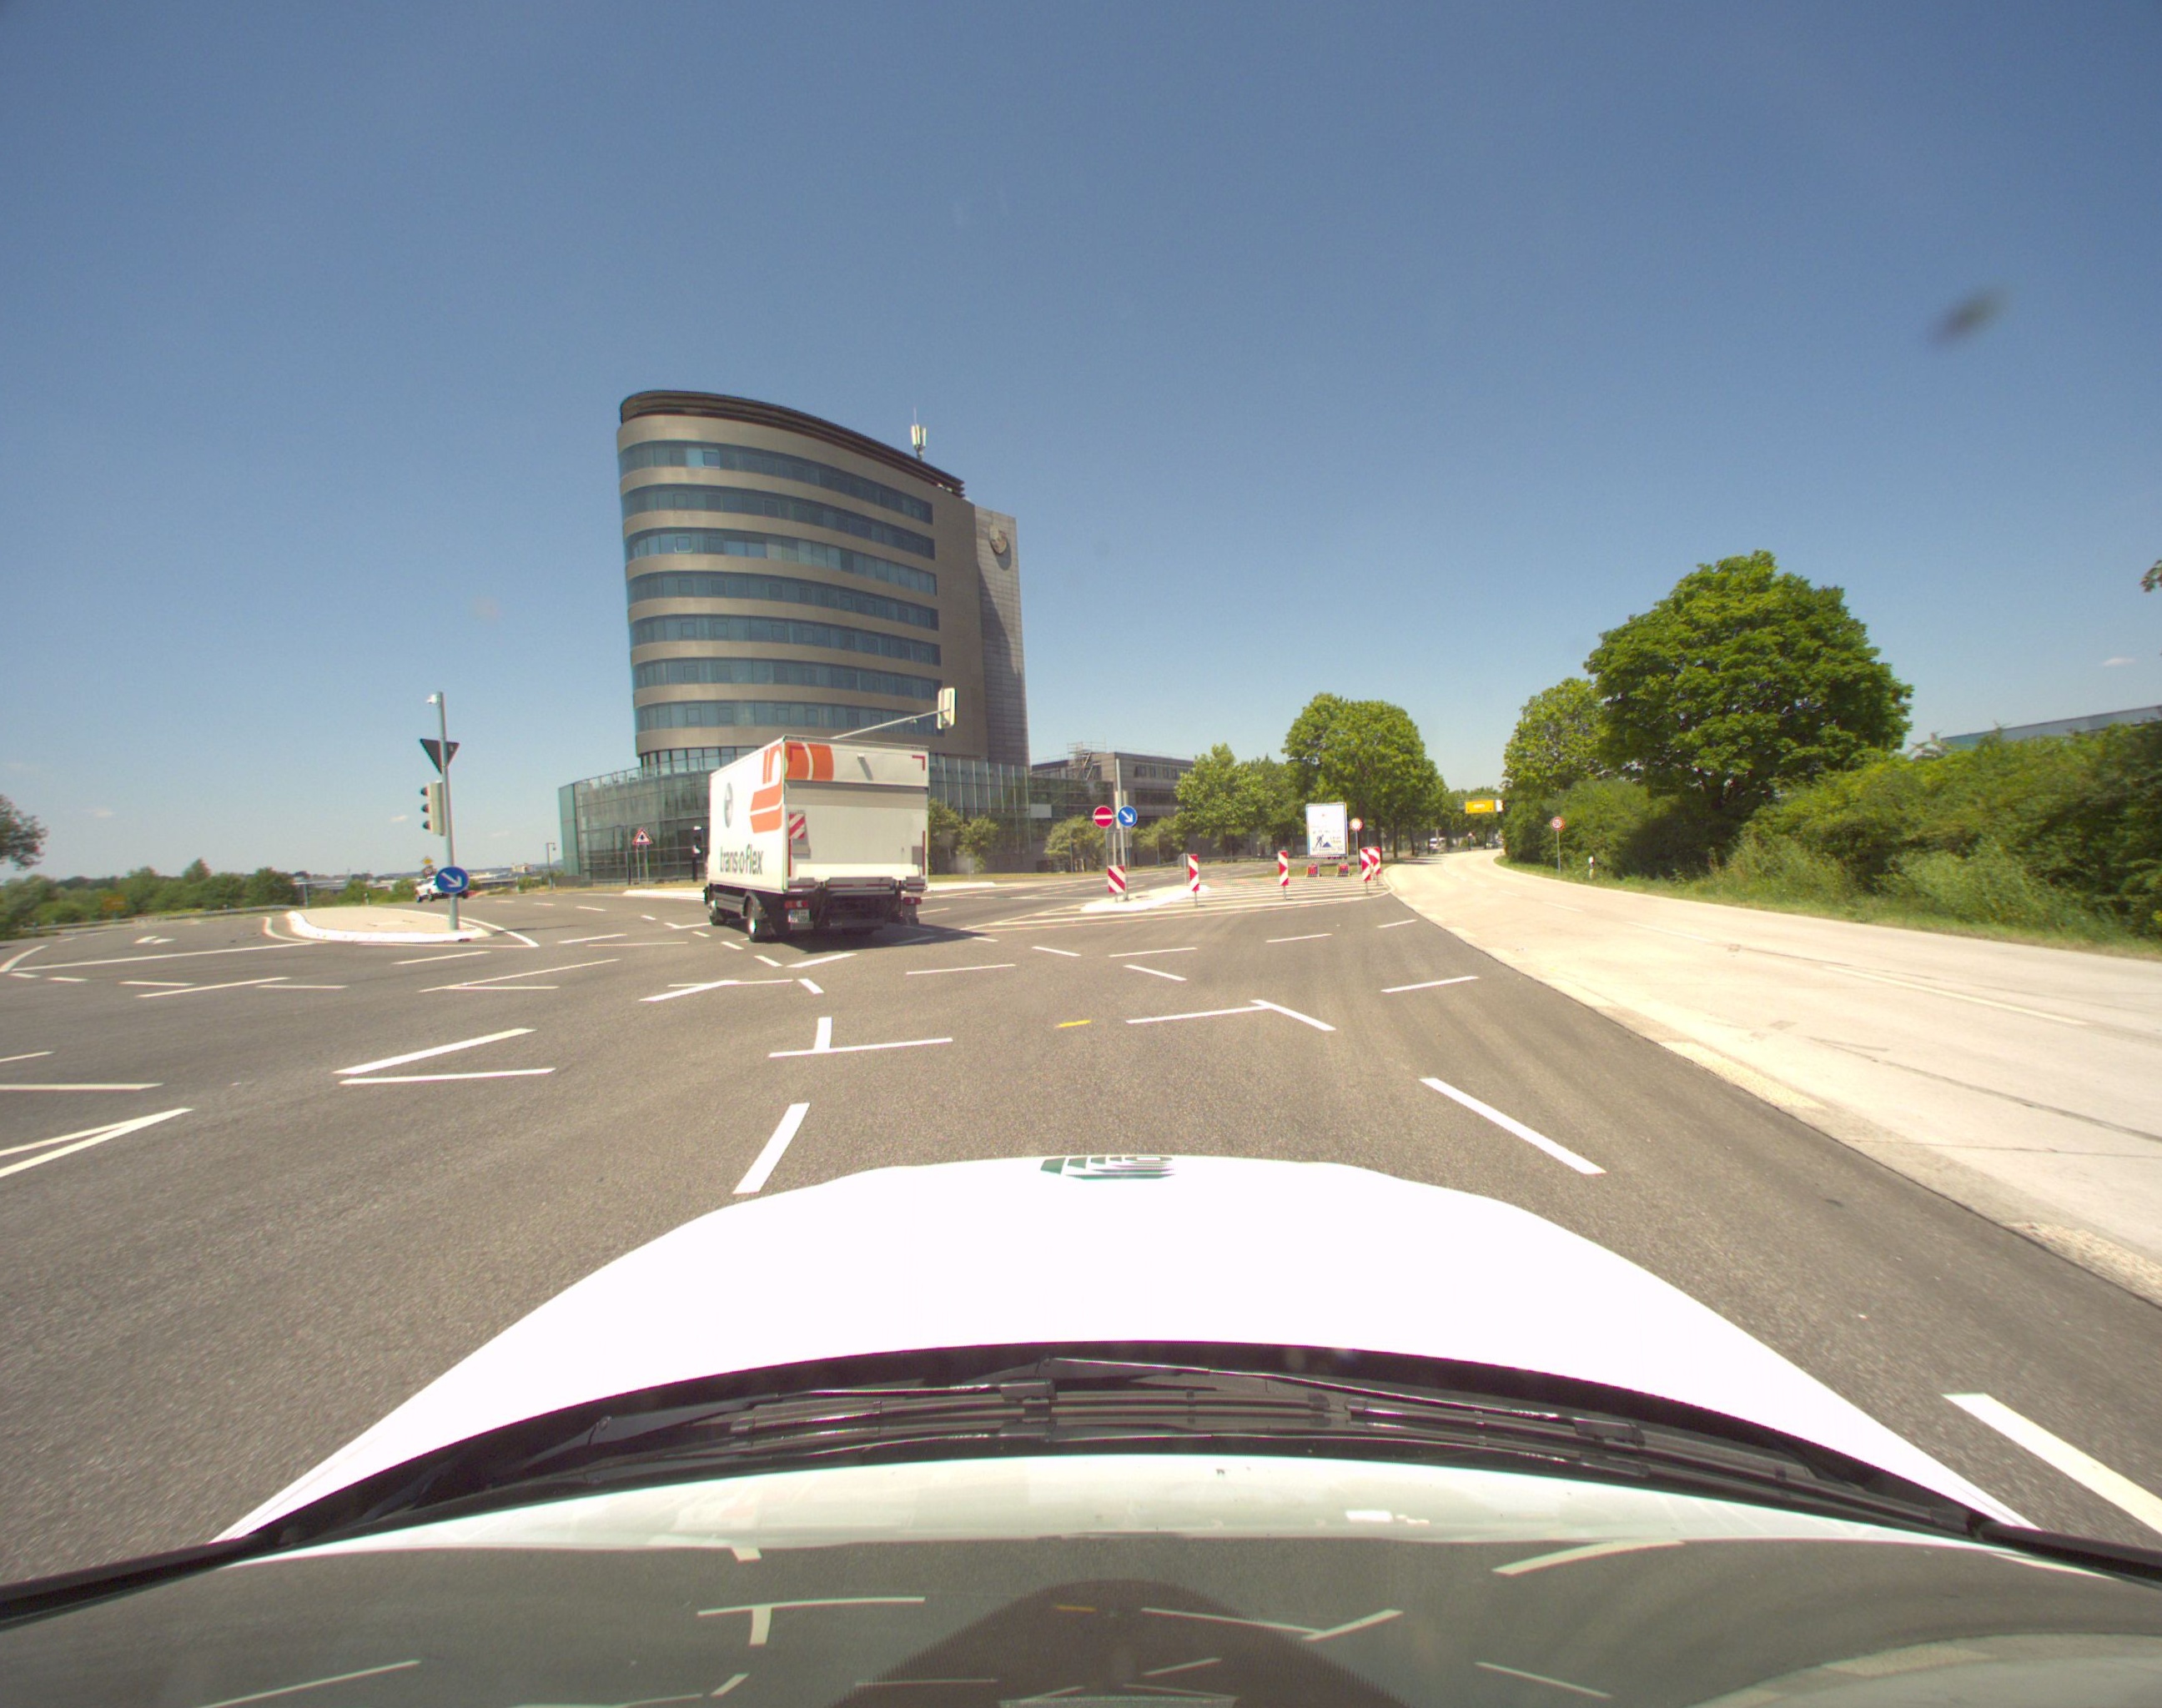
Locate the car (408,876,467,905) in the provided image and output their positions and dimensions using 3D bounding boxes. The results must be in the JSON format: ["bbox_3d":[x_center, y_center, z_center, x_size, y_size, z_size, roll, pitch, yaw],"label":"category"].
[{"bbox_3d":[-38.039,2.145,48.107,3.948,1.557,1.820,-2,0,38],"label":"car"}]

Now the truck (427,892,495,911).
[{"bbox_3d":[-123.760,9.375,162.636,10.410,3.219,2.437,-2,0,-24],"label":"truck"}]

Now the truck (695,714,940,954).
[{"bbox_3d":[-6.230,-0.214,17.764,2.789,3.860,9.273,-1,-1,-33],"label":"truck"}]

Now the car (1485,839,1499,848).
[{"bbox_3d":[86.582,-2.212,171.720,1.715,1.662,4.025,-2,0,40],"label":"car"}]
